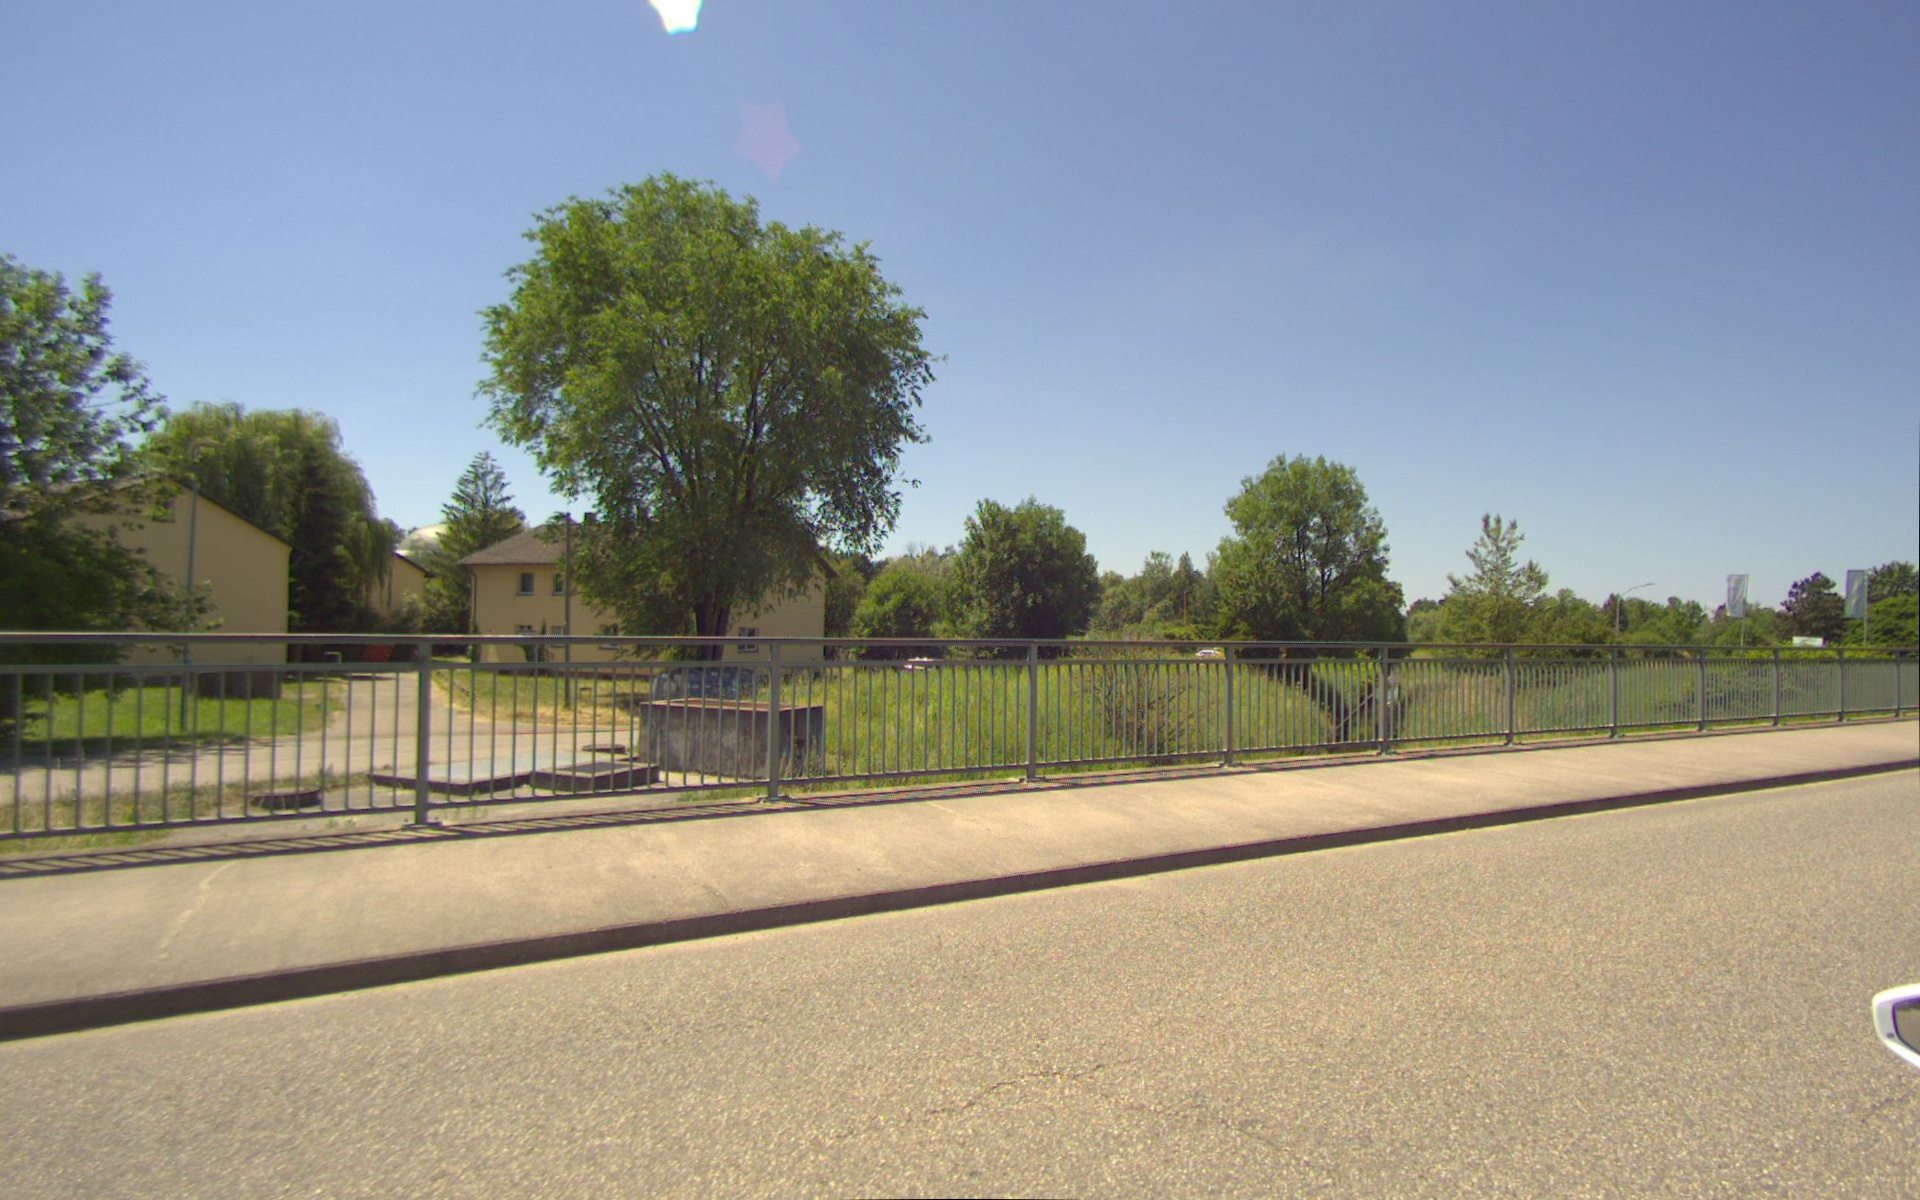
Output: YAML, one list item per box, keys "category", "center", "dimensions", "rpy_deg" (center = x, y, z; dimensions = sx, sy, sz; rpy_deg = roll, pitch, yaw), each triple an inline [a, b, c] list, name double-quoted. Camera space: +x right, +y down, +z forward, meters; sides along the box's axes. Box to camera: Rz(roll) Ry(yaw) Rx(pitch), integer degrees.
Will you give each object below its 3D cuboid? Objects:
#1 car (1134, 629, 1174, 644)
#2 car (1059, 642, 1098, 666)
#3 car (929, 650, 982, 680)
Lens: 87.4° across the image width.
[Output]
- category: "car"
  center: [20.885, 3.940, 108.184]
  dimensions: [3.923, 1.591, 1.999]
  rpy_deg: [-1, -2, 23]
- category: "car"
  center: [8.154, 3.682, 68.894]
  dimensions: [1.960, 1.617, 4.001]
  rpy_deg: [0, -2, 18]
- category: "car"
  center: [-0.220, 3.958, 61.417]
  dimensions: [1.840, 1.774, 4.000]
  rpy_deg: [-1, -3, 22]
